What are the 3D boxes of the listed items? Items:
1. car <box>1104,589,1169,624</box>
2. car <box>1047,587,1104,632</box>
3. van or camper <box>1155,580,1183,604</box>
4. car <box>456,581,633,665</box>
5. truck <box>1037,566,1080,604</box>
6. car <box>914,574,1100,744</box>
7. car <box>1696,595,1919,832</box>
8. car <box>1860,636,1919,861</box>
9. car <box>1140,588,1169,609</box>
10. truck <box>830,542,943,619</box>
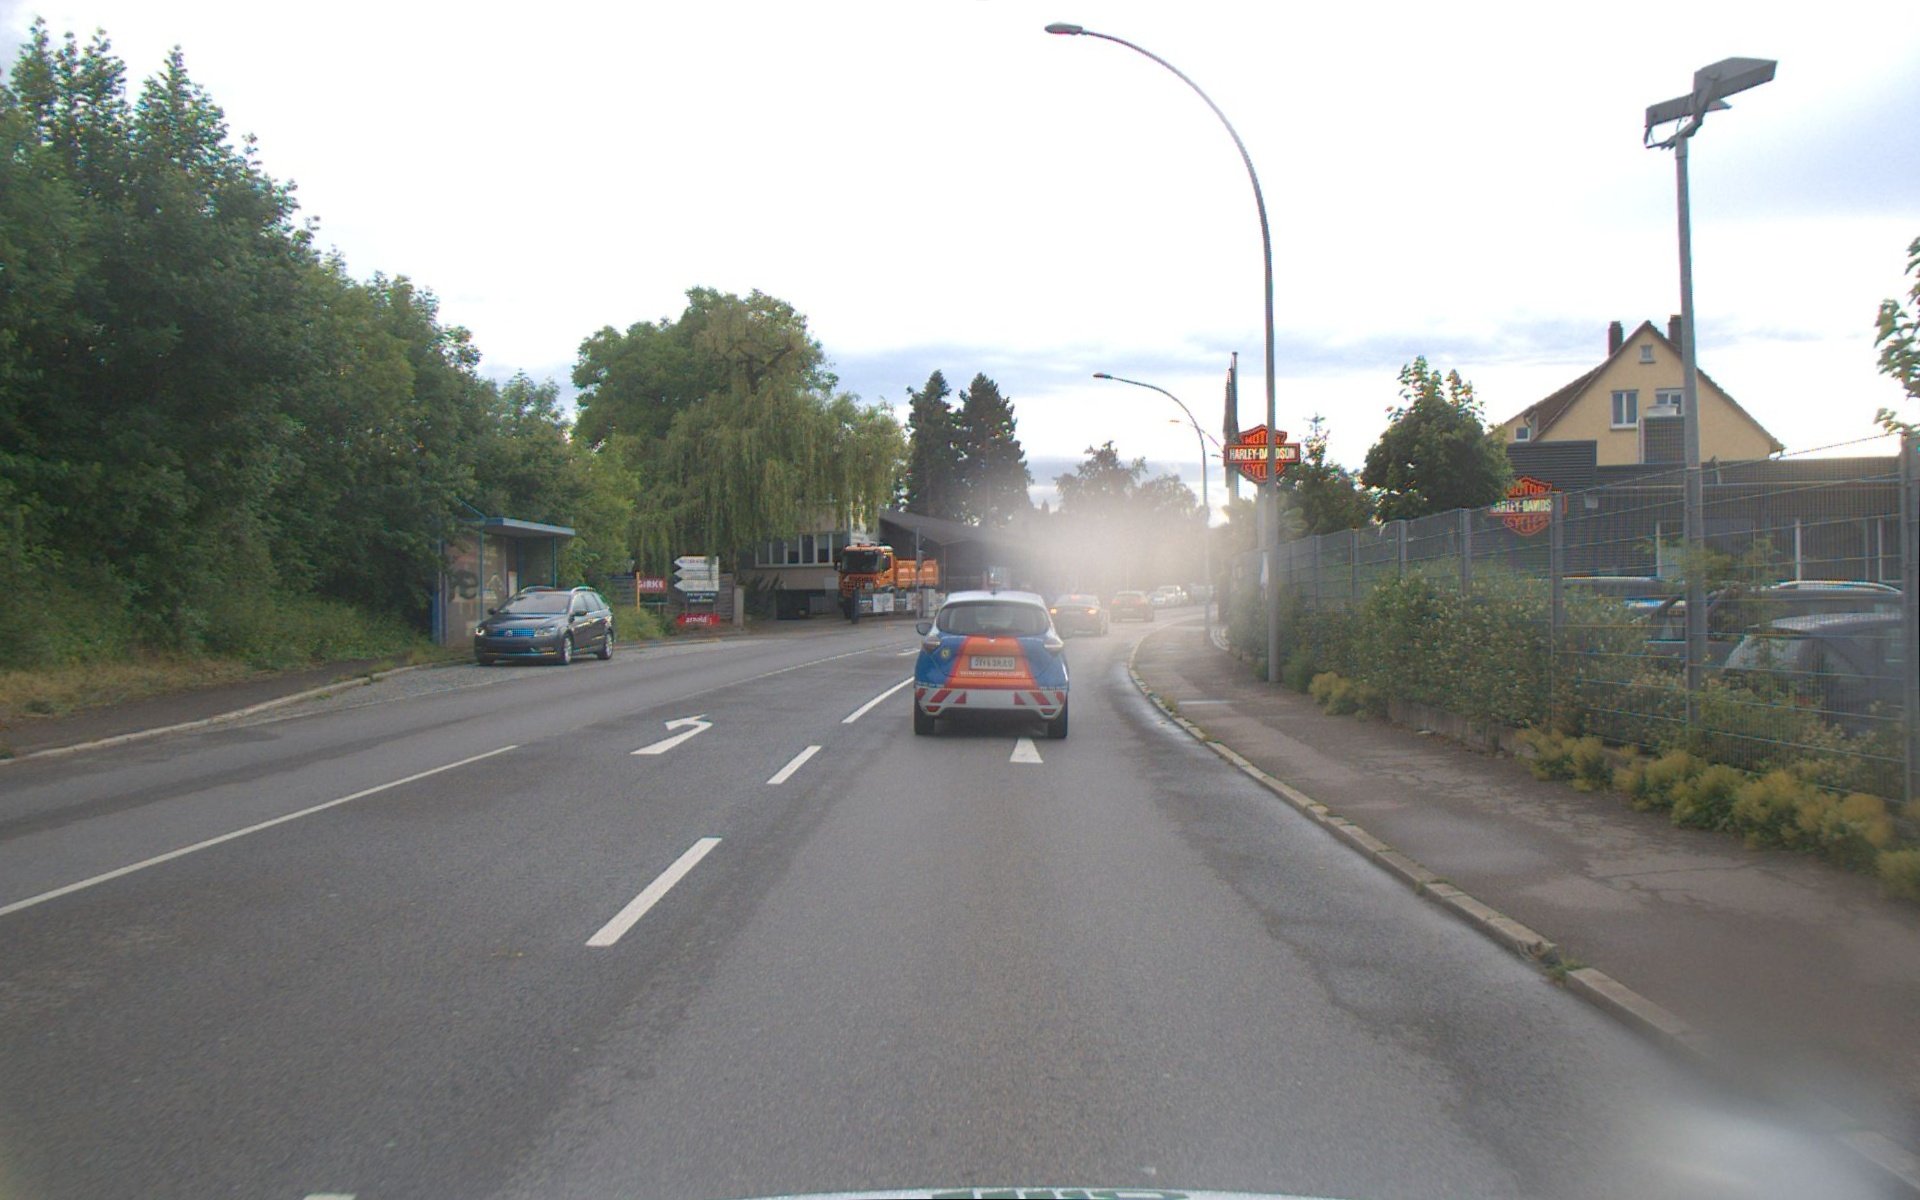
[{"bbox_3d":[8.085,0.318,75.589,1.953,1.445,3.999,1,-1,22],"label":"car"},{"bbox_3d":[3.889,0.344,56.157,1.685,1.400,3.934,2,-1,1],"label":"car"},{"bbox_3d":[18.094,-0.716,143.089,1.850,2.049,5.101,0,0,14],"label":"van or camper"},{"bbox_3d":[-8.216,0.473,33.188,1.951,1.500,4.702,2,-1,5],"label":"car"},{"bbox_3d":[8.111,-1.201,135.614,2.343,2.978,5.961,1,0,15],"label":"truck"},{"bbox_3d":[0.526,0.614,19.261,1.850,1.660,4.000,3,0,1],"label":"car"},{"bbox_3d":[8.467,0.946,13.635,4.056,1.803,1.616,2,-1,0],"label":"car"},{"bbox_3d":[8.493,1.081,11.242,3.823,1.535,1.680,2,-1,0],"label":"car"},{"bbox_3d":[16.093,-0.135,136.839,1.951,1.673,4.003,0,0,13],"label":"car"},{"bbox_3d":[-3.546,-0.881,82.808,2.641,3.471,9.075,1,-1,17],"label":"truck"}]
